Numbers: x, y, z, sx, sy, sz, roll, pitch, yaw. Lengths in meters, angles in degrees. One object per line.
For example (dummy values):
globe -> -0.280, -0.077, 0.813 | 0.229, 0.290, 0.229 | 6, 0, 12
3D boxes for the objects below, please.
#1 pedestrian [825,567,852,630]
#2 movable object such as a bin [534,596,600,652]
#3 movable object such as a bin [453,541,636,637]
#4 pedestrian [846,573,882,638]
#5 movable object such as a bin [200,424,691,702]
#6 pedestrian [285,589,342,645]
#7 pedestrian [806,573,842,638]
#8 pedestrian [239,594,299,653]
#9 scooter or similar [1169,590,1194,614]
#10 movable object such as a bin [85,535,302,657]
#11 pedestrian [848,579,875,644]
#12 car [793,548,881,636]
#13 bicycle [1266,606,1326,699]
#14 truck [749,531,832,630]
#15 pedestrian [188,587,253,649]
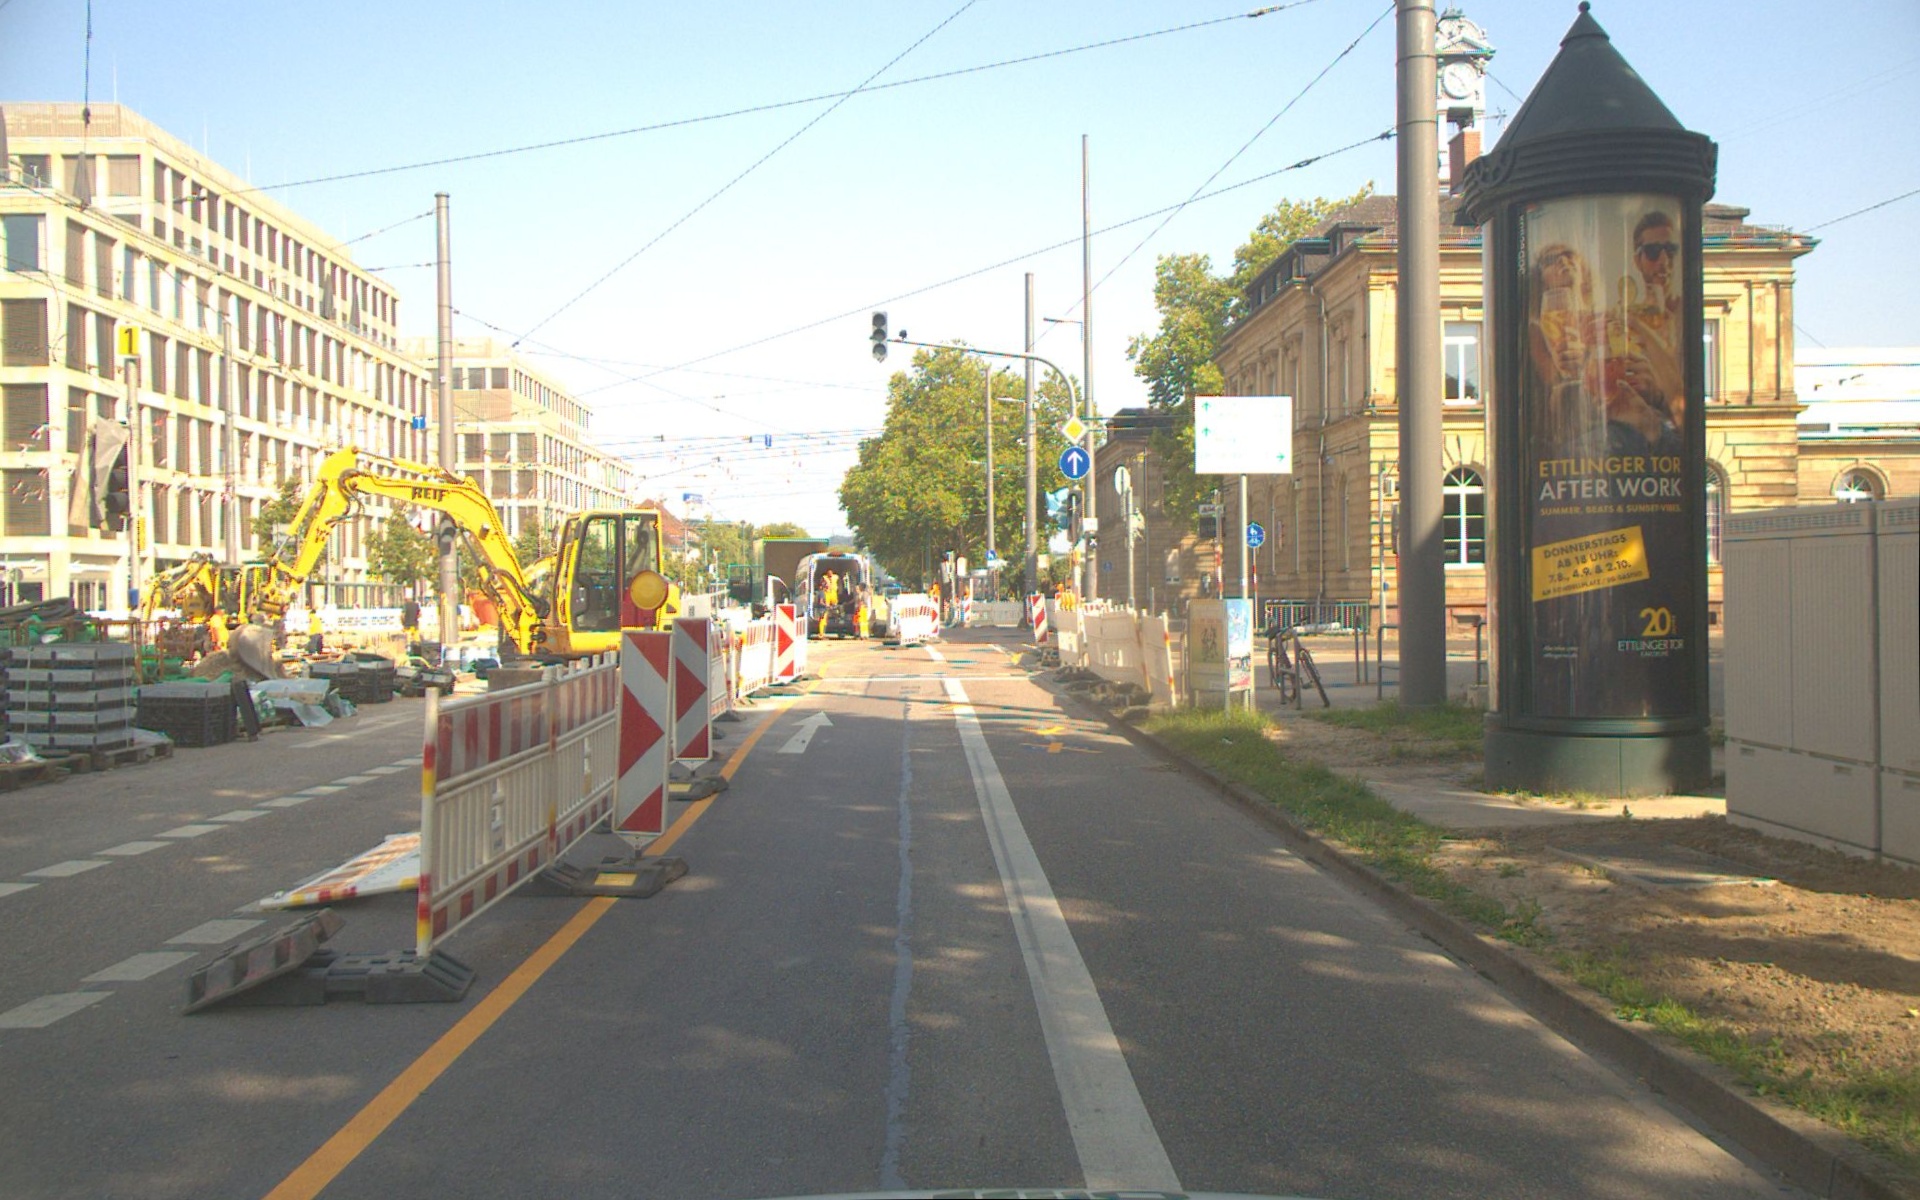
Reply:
pedestrian -> -4.003, -0.045, 54.457 | 0.718, 2.049, 0.907 | -1, 0, 3
movable object such as a bin -> -8.743, 0.519, 36.909 | 0.734, 1.190, 2.292 | -1, 0, 5
movable object such as a bin -> -18.831, -0.524, 75.784 | 3.432, 4.083, 9.041 | -1, 0, 22
pedestrian -> -3.046, 0.174, 52.461 | 0.720, 2.049, 0.905 | -2, 0, 31
movable object such as a bin -> -6.850, -0.476, 22.354 | 6.057, 3.404, 2.103 | -1, 0, -22
pedestrian -> -17.428, 0.456, 44.579 | 1.119, 1.467, 1.020 | -1, 0, -1
pedestrian -> -4.350, 0.164, 52.992 | 0.720, 2.049, 0.905 | -2, 0, 30
pedestrian -> -17.384, 0.585, 41.637 | 1.119, 1.467, 0.917 | -1, 0, -1
scooter or similar -> 11.810, 0.117, 88.171 | 1.236, 1.231, 0.419 | -3, 2, -27
movable object such as a bin -> -23.449, -0.103, 51.165 | 2.788, 3.388, 8.345 | -1, 0, 0
pedestrian -> -3.181, 0.362, 53.390 | 0.718, 2.049, 0.908 | -1, 0, 5
car -> -4.211, -0.253, 55.851 | 2.187, 2.777, 5.153 | -1, 0, -13
bicycle -> 3.850, 0.585, 19.023 | 0.402, 1.004, 1.376 | -1, 0, 0
truck -> -6.980, -0.767, 67.081 | 2.626, 3.742, 8.193 | -1, 0, -11
pedestrian -> -17.759, 0.431, 39.733 | 1.119, 1.467, 0.917 | -1, 0, -1
